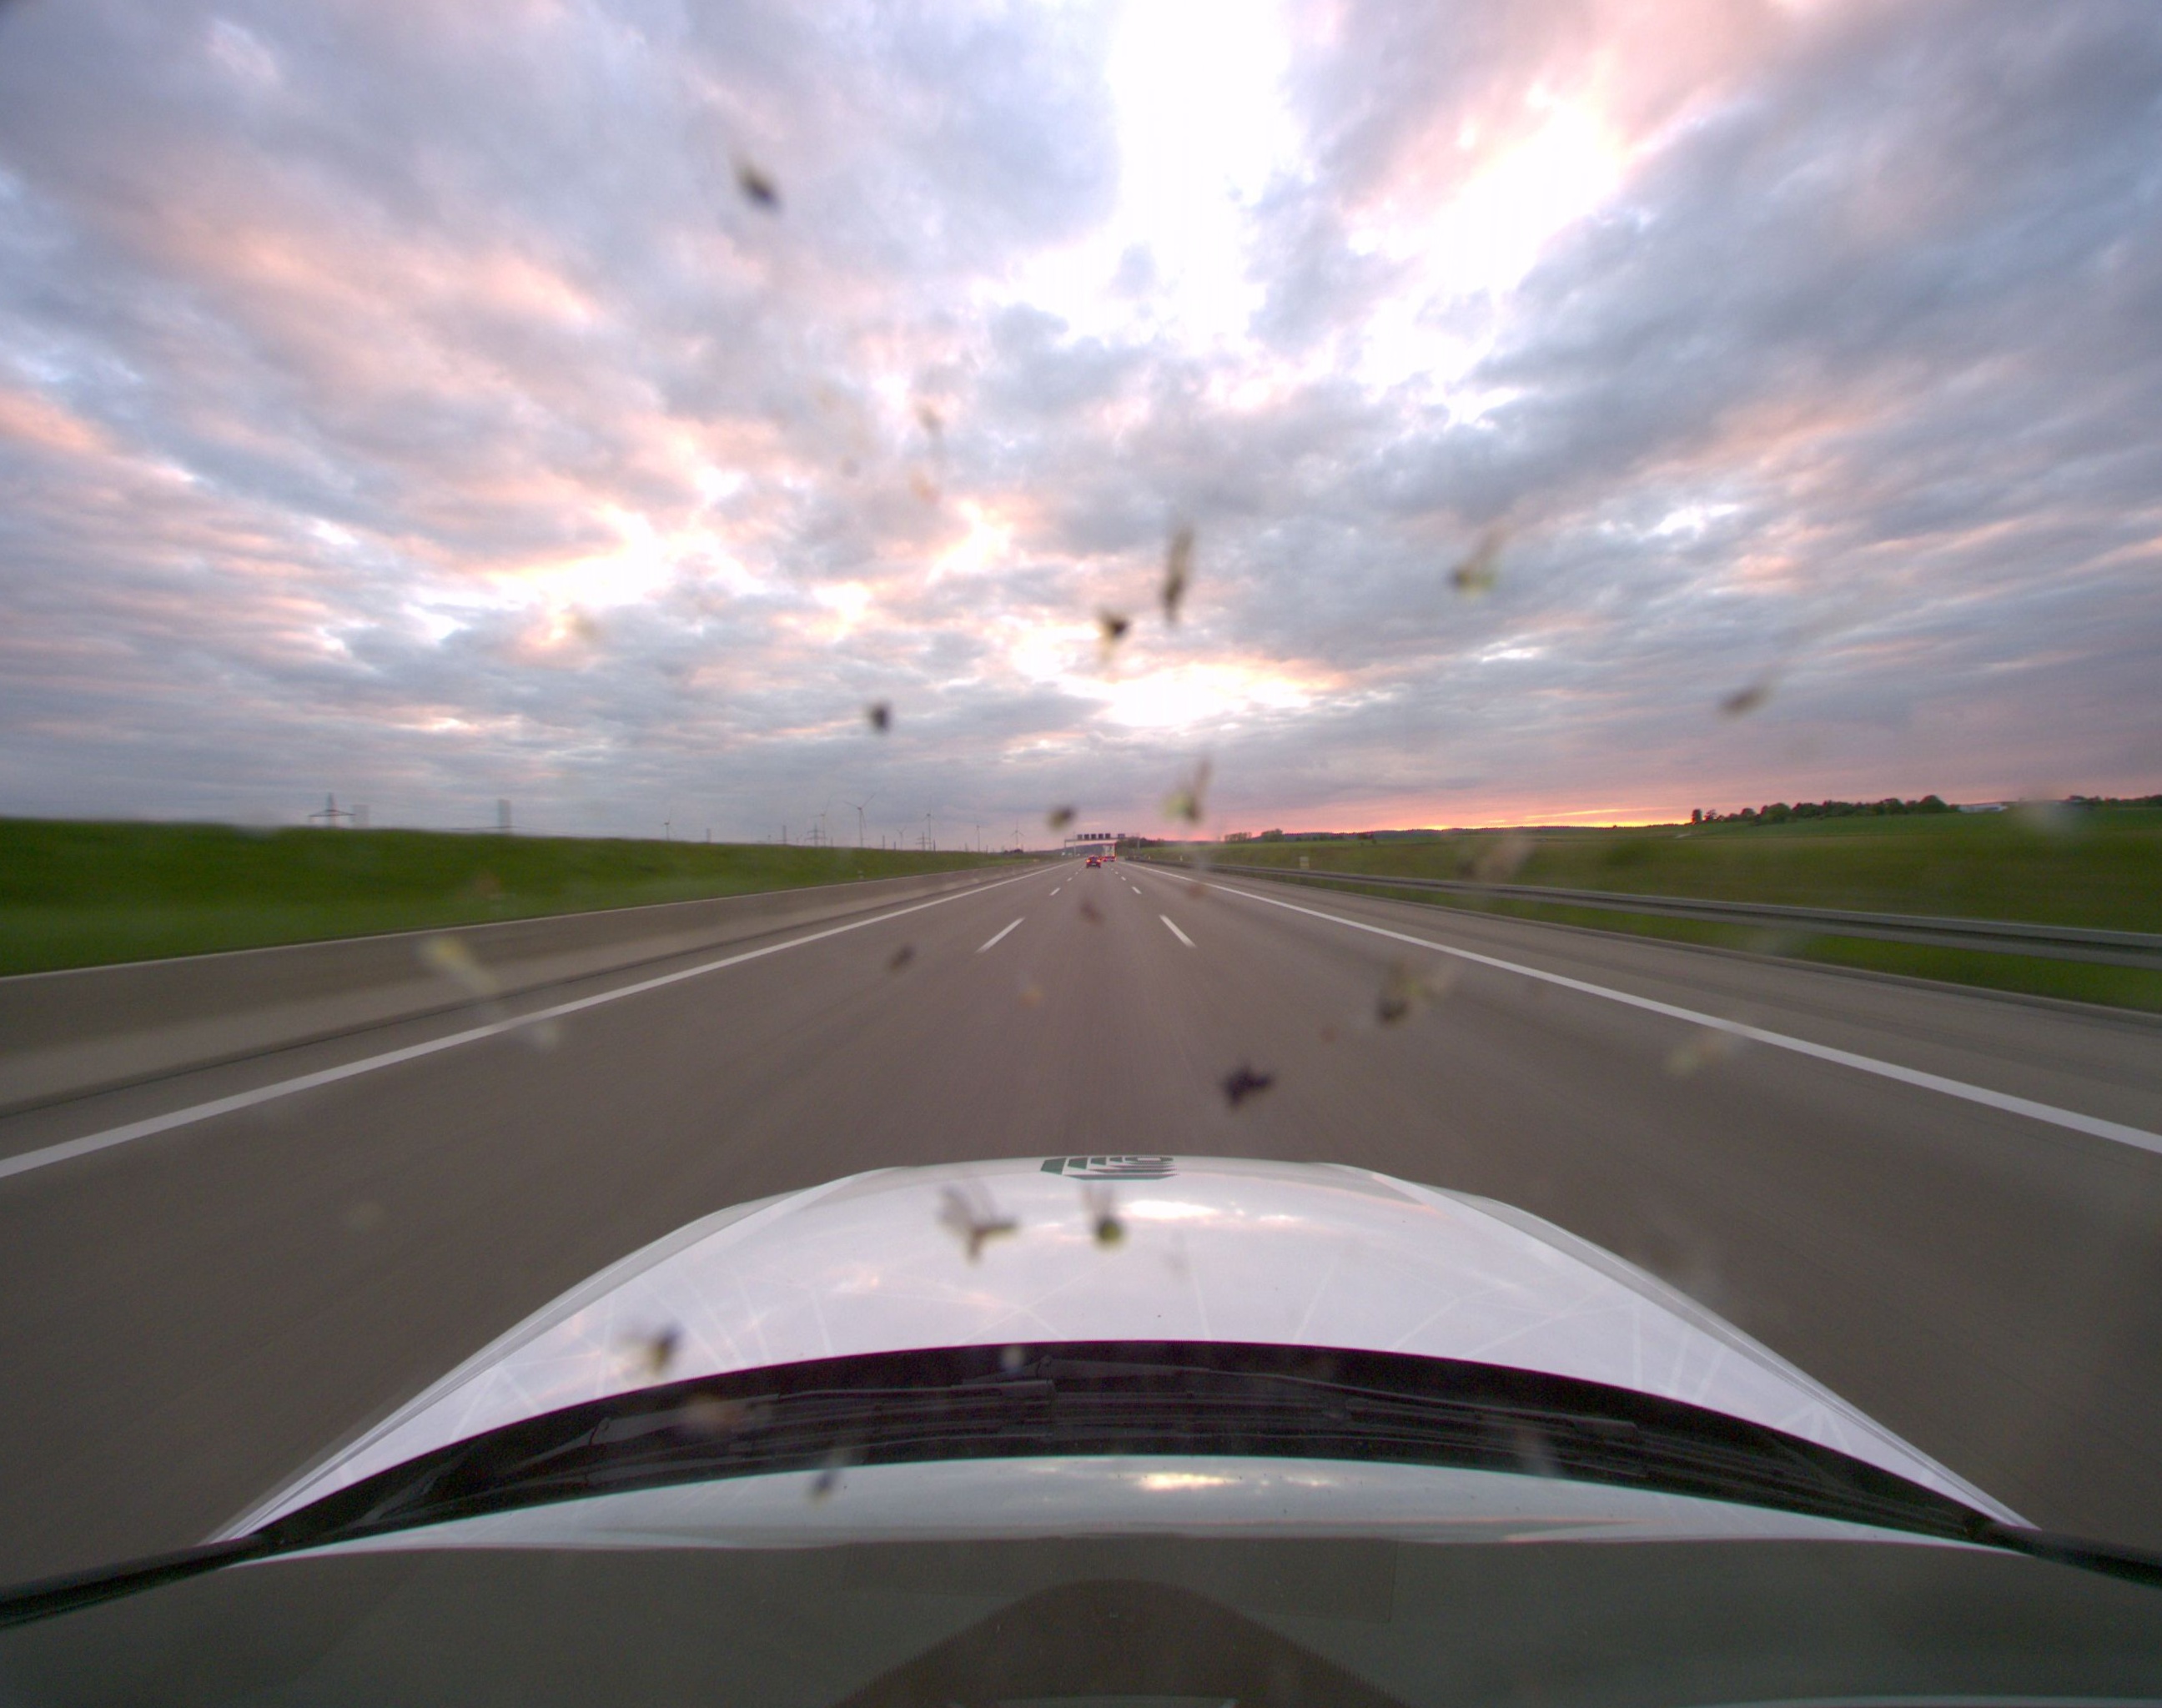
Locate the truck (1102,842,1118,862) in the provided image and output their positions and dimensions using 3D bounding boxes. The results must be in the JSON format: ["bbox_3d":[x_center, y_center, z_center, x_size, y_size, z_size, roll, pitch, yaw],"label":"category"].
[{"bbox_3d":[7.084,-0.509,203.375,3.662,4.564,10.983,-2,0,1],"label":"truck"}]

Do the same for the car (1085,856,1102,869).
[{"bbox_3d":[1.582,1.001,99.675,1.981,1.429,4.001,-2,0,1],"label":"car"}]
